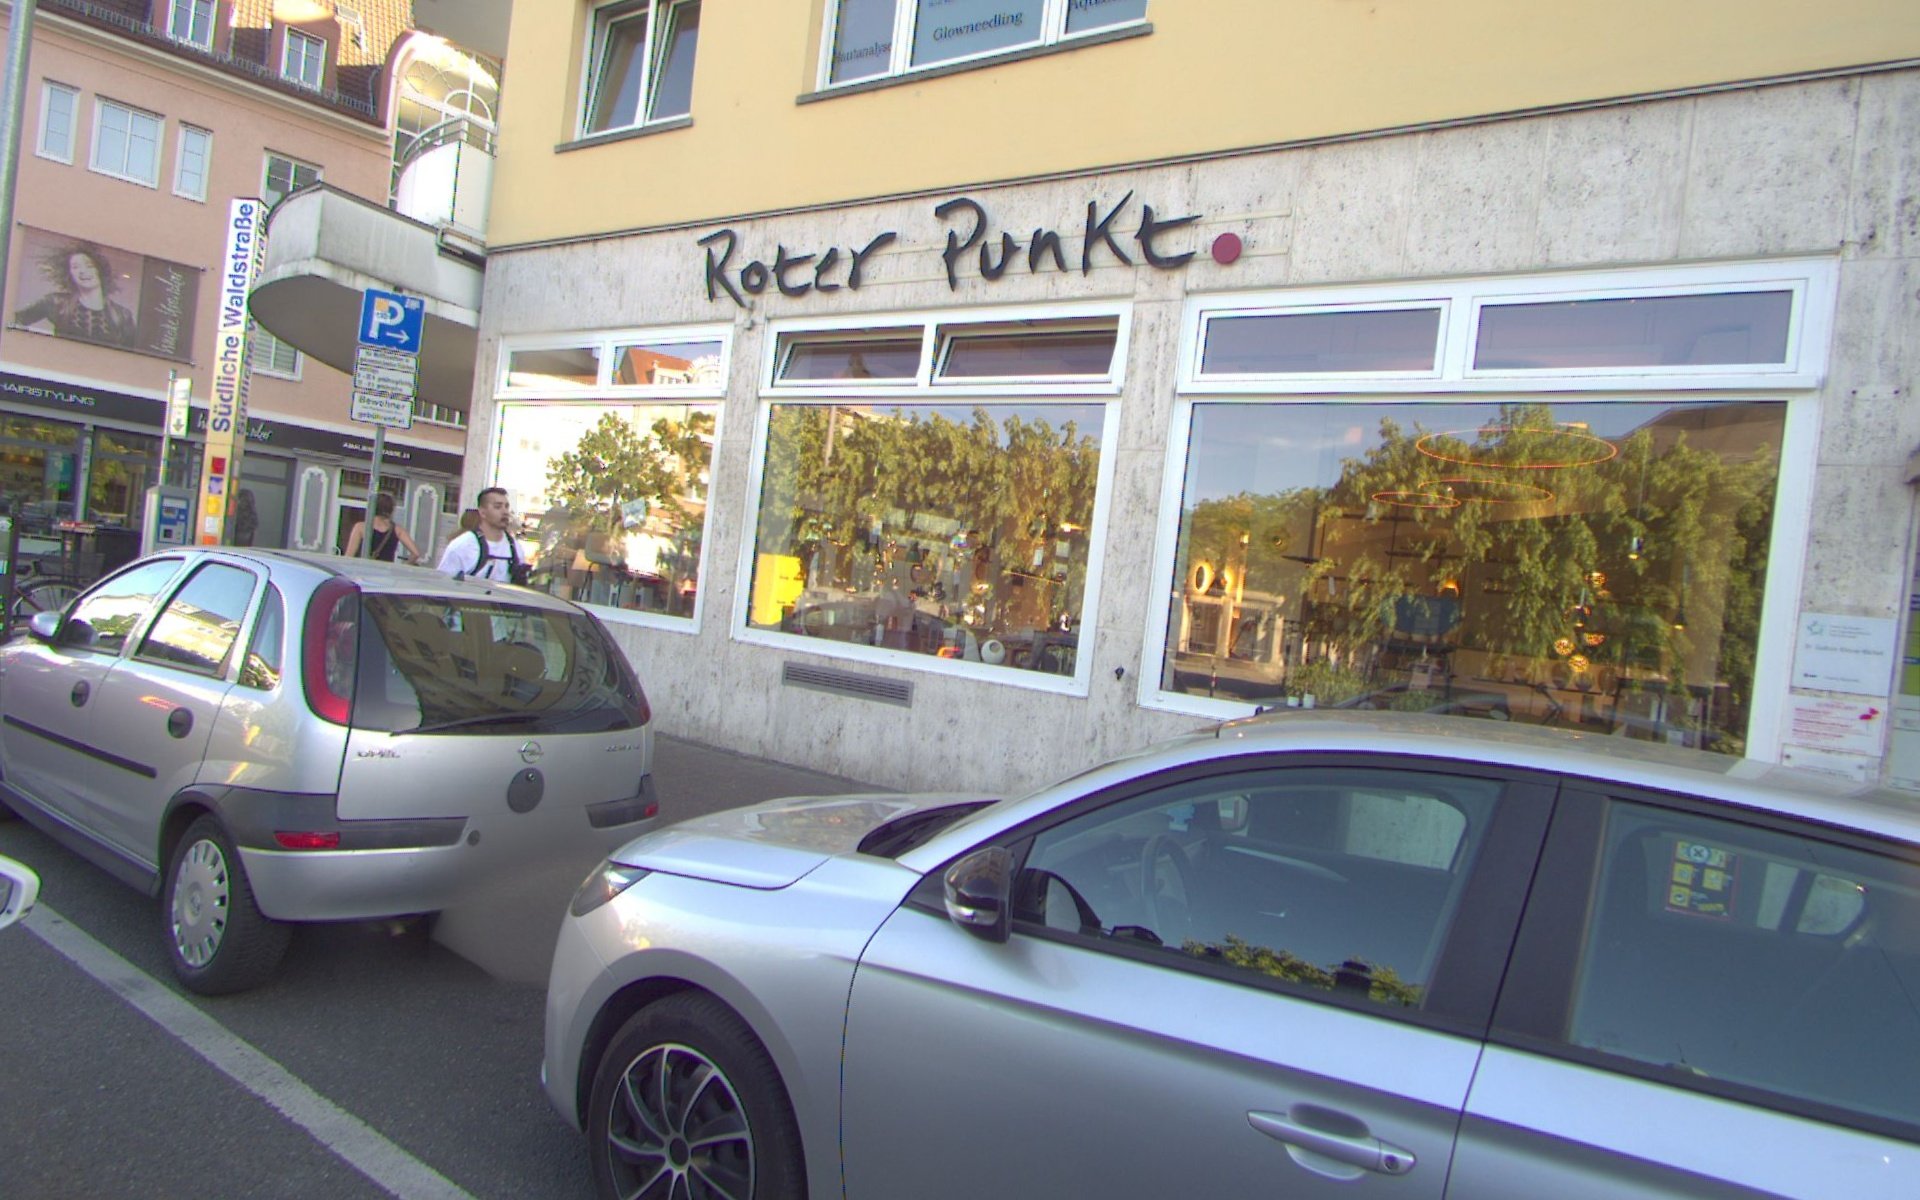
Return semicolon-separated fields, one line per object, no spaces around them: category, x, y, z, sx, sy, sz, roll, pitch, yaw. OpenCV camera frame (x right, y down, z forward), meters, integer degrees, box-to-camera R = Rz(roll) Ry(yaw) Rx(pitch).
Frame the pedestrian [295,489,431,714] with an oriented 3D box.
pedestrian;-5.295;-0.001;8.918;0.880;1.874;0.680;6;3;37

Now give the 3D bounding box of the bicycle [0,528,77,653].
bicycle;-9.054;-0.153;8.800;0.642;1.072;1.816;7;-1;33

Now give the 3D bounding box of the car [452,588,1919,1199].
car;0.782;0.941;2.283;3.624;1.453;1.587;6;-2;30

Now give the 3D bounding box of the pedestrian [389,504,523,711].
pedestrian;-4.600;0.063;9.185;0.775;1.777;0.721;6;2;36

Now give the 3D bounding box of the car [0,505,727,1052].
car;-2.955;0.482;4.463;3.520;1.443;1.587;6;-2;32

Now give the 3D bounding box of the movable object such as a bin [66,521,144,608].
movable object such as a bin;-11.954;-0.490;14.068;0.716;1.117;0.636;7;2;35

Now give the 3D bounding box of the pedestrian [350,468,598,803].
pedestrian;-2.956;0.198;6.136;0.967;1.844;0.809;6;-1;35

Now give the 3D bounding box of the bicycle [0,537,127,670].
bicycle;-8.163;0.001;8.256;0.642;1.057;1.884;7;0;33

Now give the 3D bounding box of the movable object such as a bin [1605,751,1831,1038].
movable object such as a bin;3.375;1.263;4.548;0.639;1.035;0.738;6;-1;31

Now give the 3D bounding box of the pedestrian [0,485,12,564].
pedestrian;-19.490;-1.539;20.001;0.718;1.567;0.783;8;-1;-39

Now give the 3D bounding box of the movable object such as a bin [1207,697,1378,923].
movable object such as a bin;1.827;1.094;5.478;0.639;1.035;0.738;6;-1;31
